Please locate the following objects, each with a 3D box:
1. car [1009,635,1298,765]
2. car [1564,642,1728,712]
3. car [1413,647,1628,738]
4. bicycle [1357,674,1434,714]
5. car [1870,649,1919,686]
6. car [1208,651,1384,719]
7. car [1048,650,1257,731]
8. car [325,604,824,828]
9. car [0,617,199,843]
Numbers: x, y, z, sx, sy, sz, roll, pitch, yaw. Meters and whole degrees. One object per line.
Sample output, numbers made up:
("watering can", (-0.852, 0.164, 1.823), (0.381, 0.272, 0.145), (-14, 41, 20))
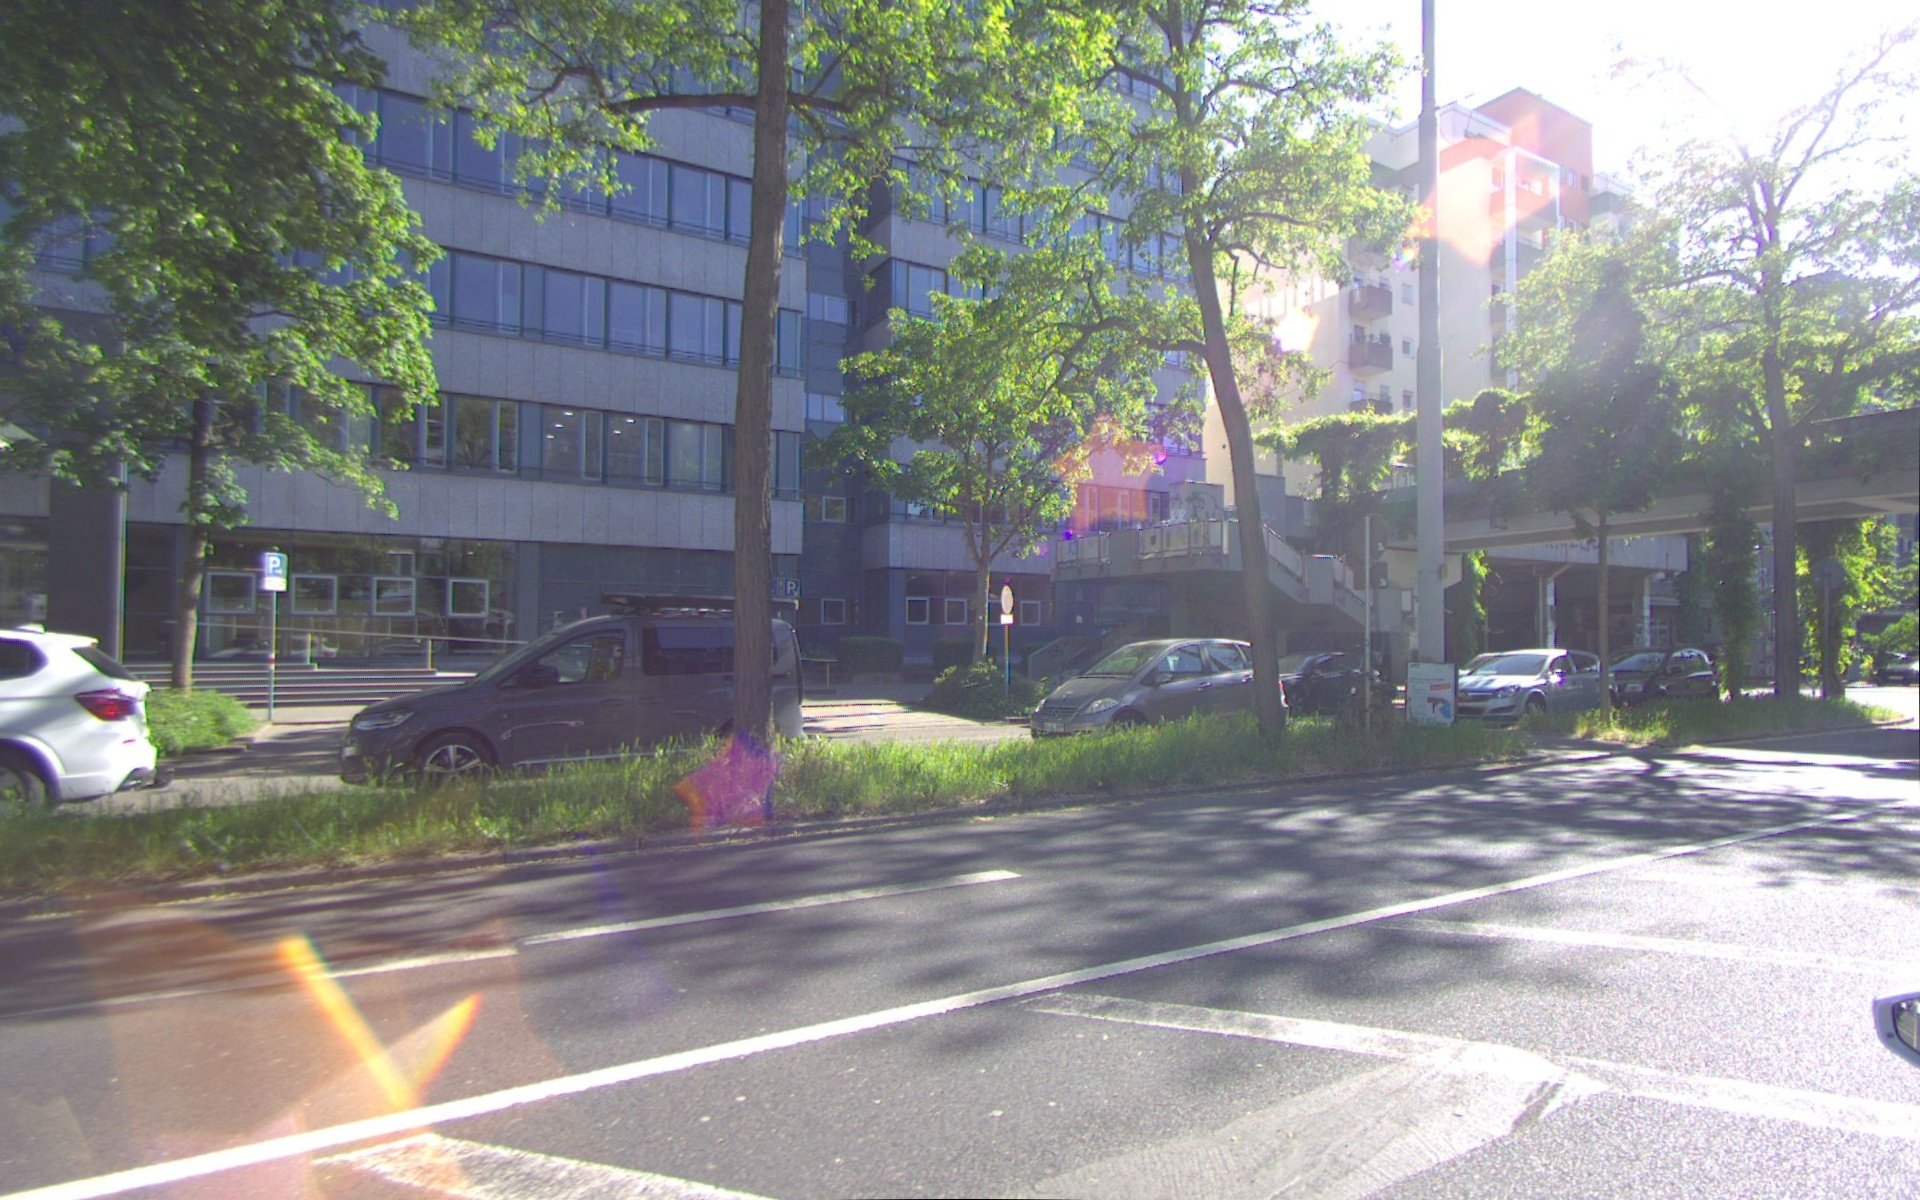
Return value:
("car", (2.804, 1.331, 14.408), (3.826, 1.589, 1.847), (2, -1, -31))
("car", (14.638, 1.583, 21.392), (3.543, 1.324, 1.624), (2, -1, -32))
("car", (10.897, 1.706, 19.459), (4.271, 1.543, 1.846), (2, -1, -32))
("bicycle", (12.652, 2.707, 29.145), (2.578, 1.035, 0.709), (2, -1, -32))
("car", (43.332, 3.040, 45.659), (4.271, 1.543, 1.846), (2, -1, -32))
("car", (8.342, 2.035, 24.842), (4.271, 1.543, 1.846), (2, -3, -32))
("car", (4.104, 1.835, 21.227), (4.271, 1.543, 1.846), (2, -3, -32))
("car", (-3.867, 1.037, 10.412), (4.511, 1.874, 1.846), (2, -1, -32))
("car", (-8.757, 0.970, 7.667), (4.621, 1.706, 1.843), (2, -1, -37))
